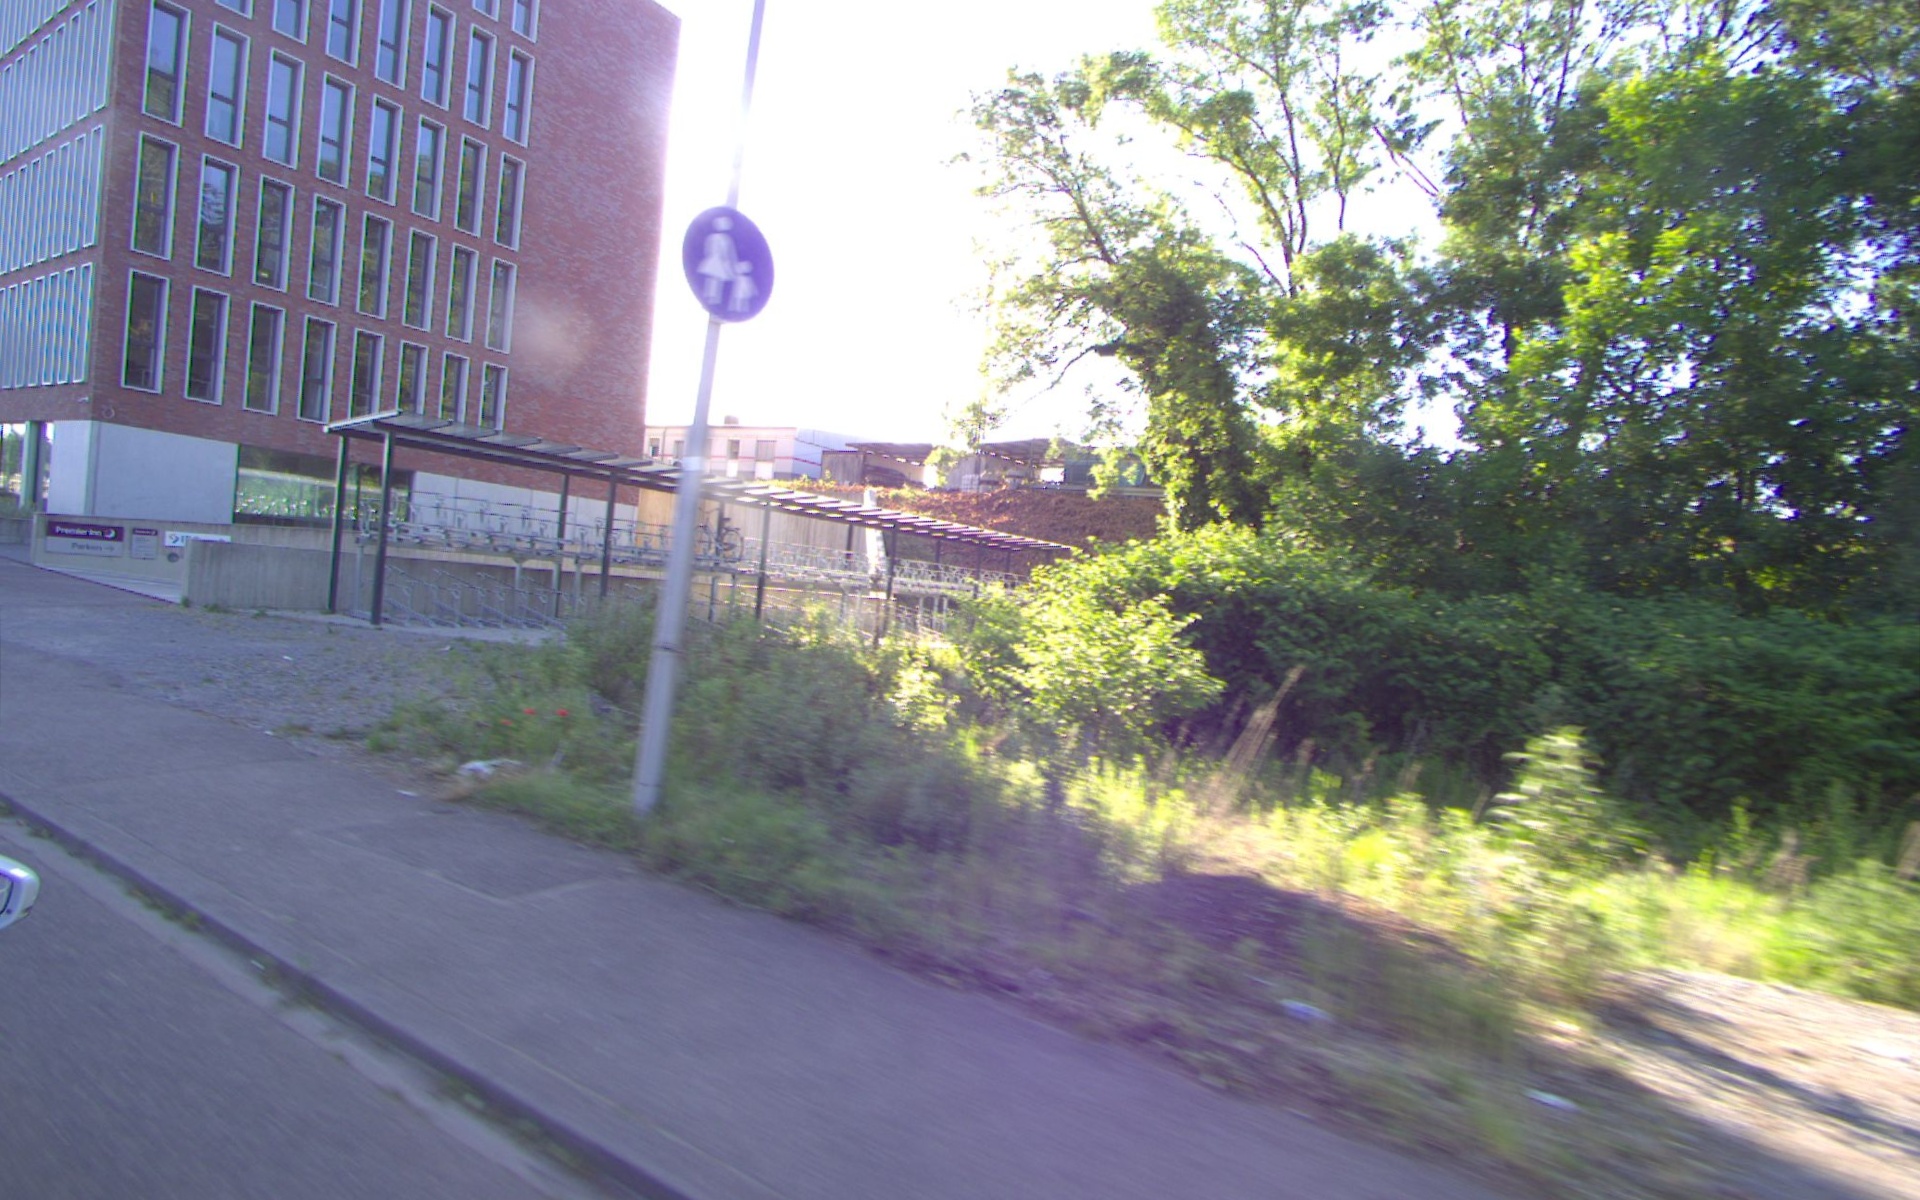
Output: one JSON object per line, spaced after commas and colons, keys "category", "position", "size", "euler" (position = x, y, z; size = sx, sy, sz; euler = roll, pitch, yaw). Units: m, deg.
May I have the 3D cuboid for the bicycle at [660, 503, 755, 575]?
{"category": "bicycle", "position": [-5.318, -1.297, 21.134], "size": [1.957, 1.337, 0.631], "euler": [6, 0, 32]}
